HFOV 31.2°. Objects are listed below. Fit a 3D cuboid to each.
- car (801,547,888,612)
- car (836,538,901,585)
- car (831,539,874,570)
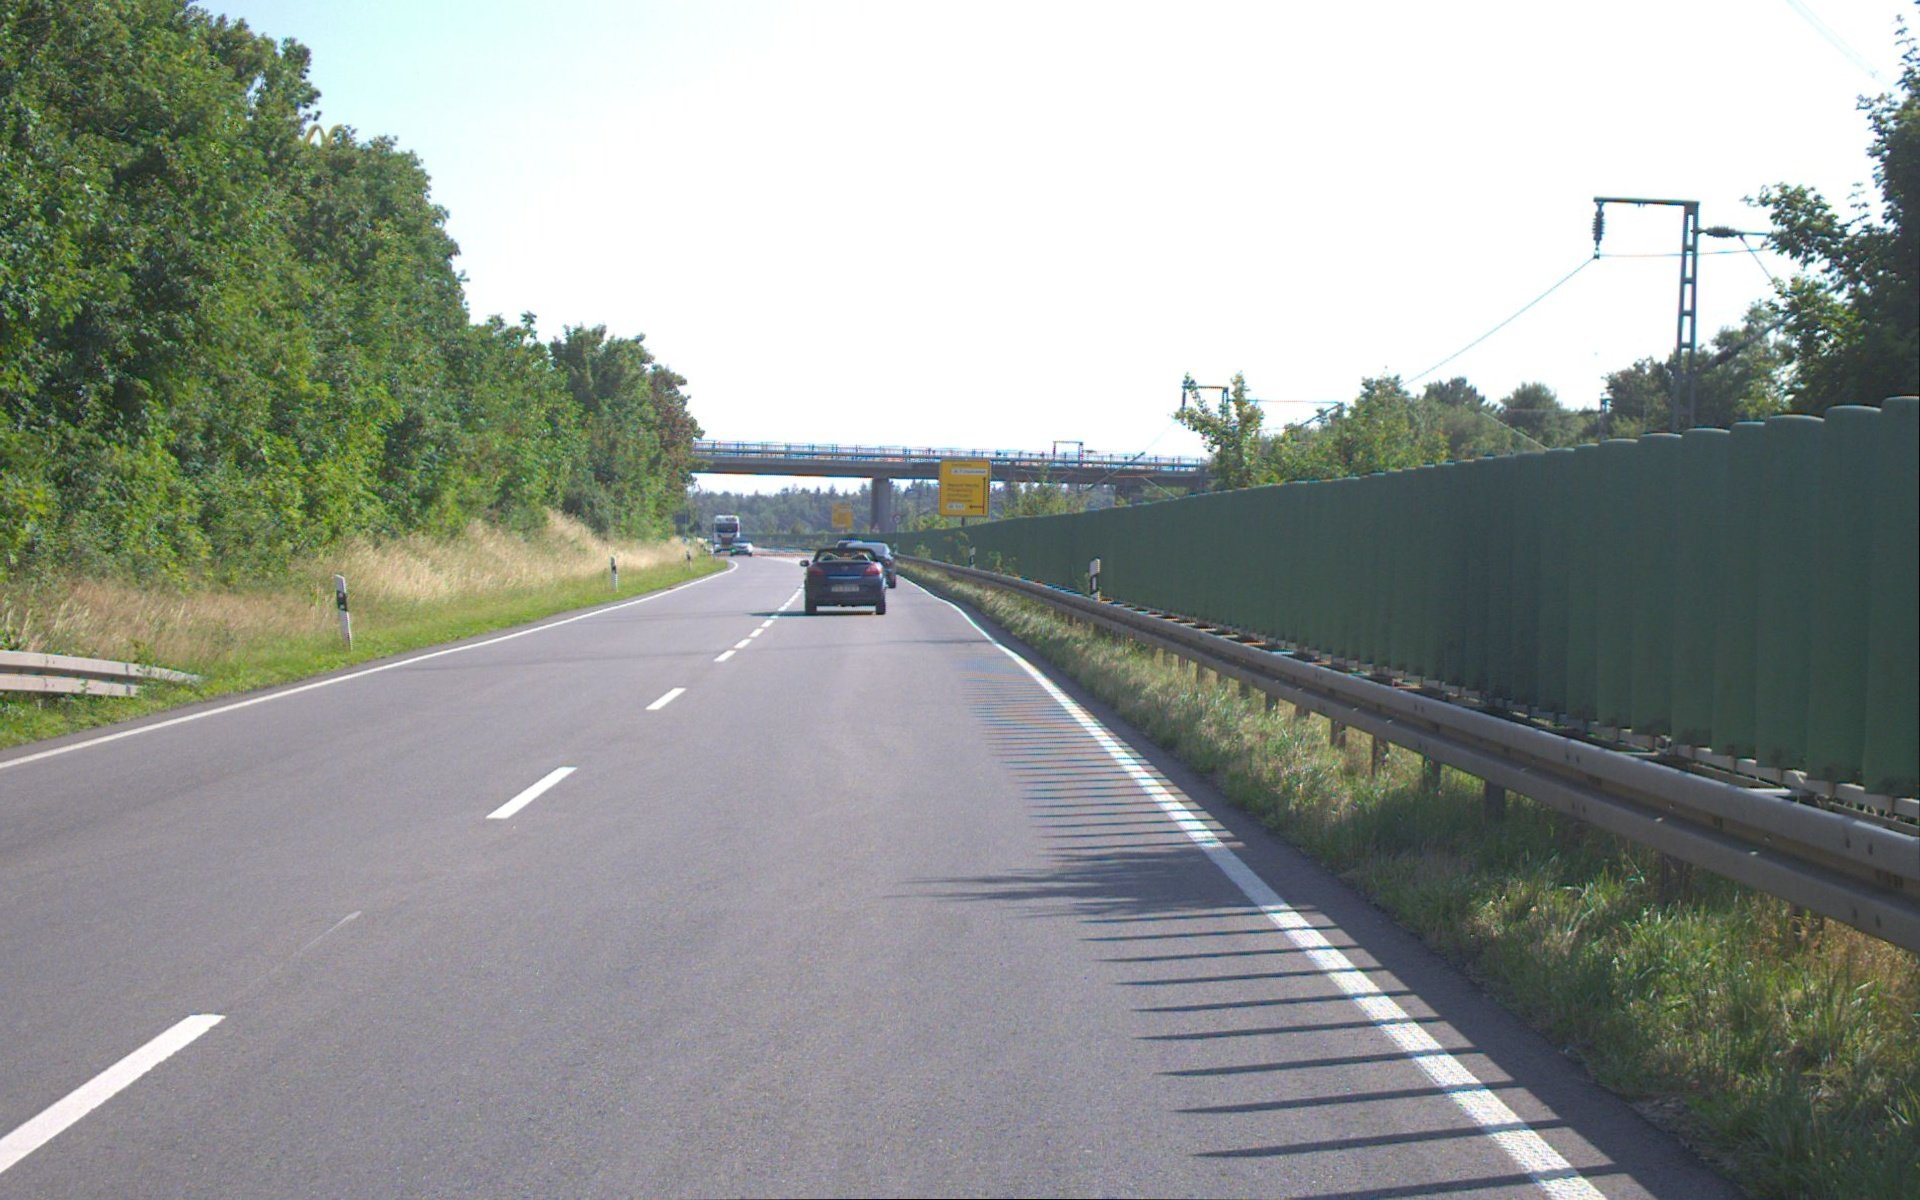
[{"bbox_3d":[-2.390,-0.431,70.301,1.663,1.257,4.001,1,1,-3],"label":"car"},{"bbox_3d":[-2.907,-1.222,108.897,1.894,1.413,4.001,1,1,-3],"label":"car"},{"bbox_3d":[-5.036,-2.147,161.019,1.894,1.413,4.001,1,1,-3],"label":"car"}]
